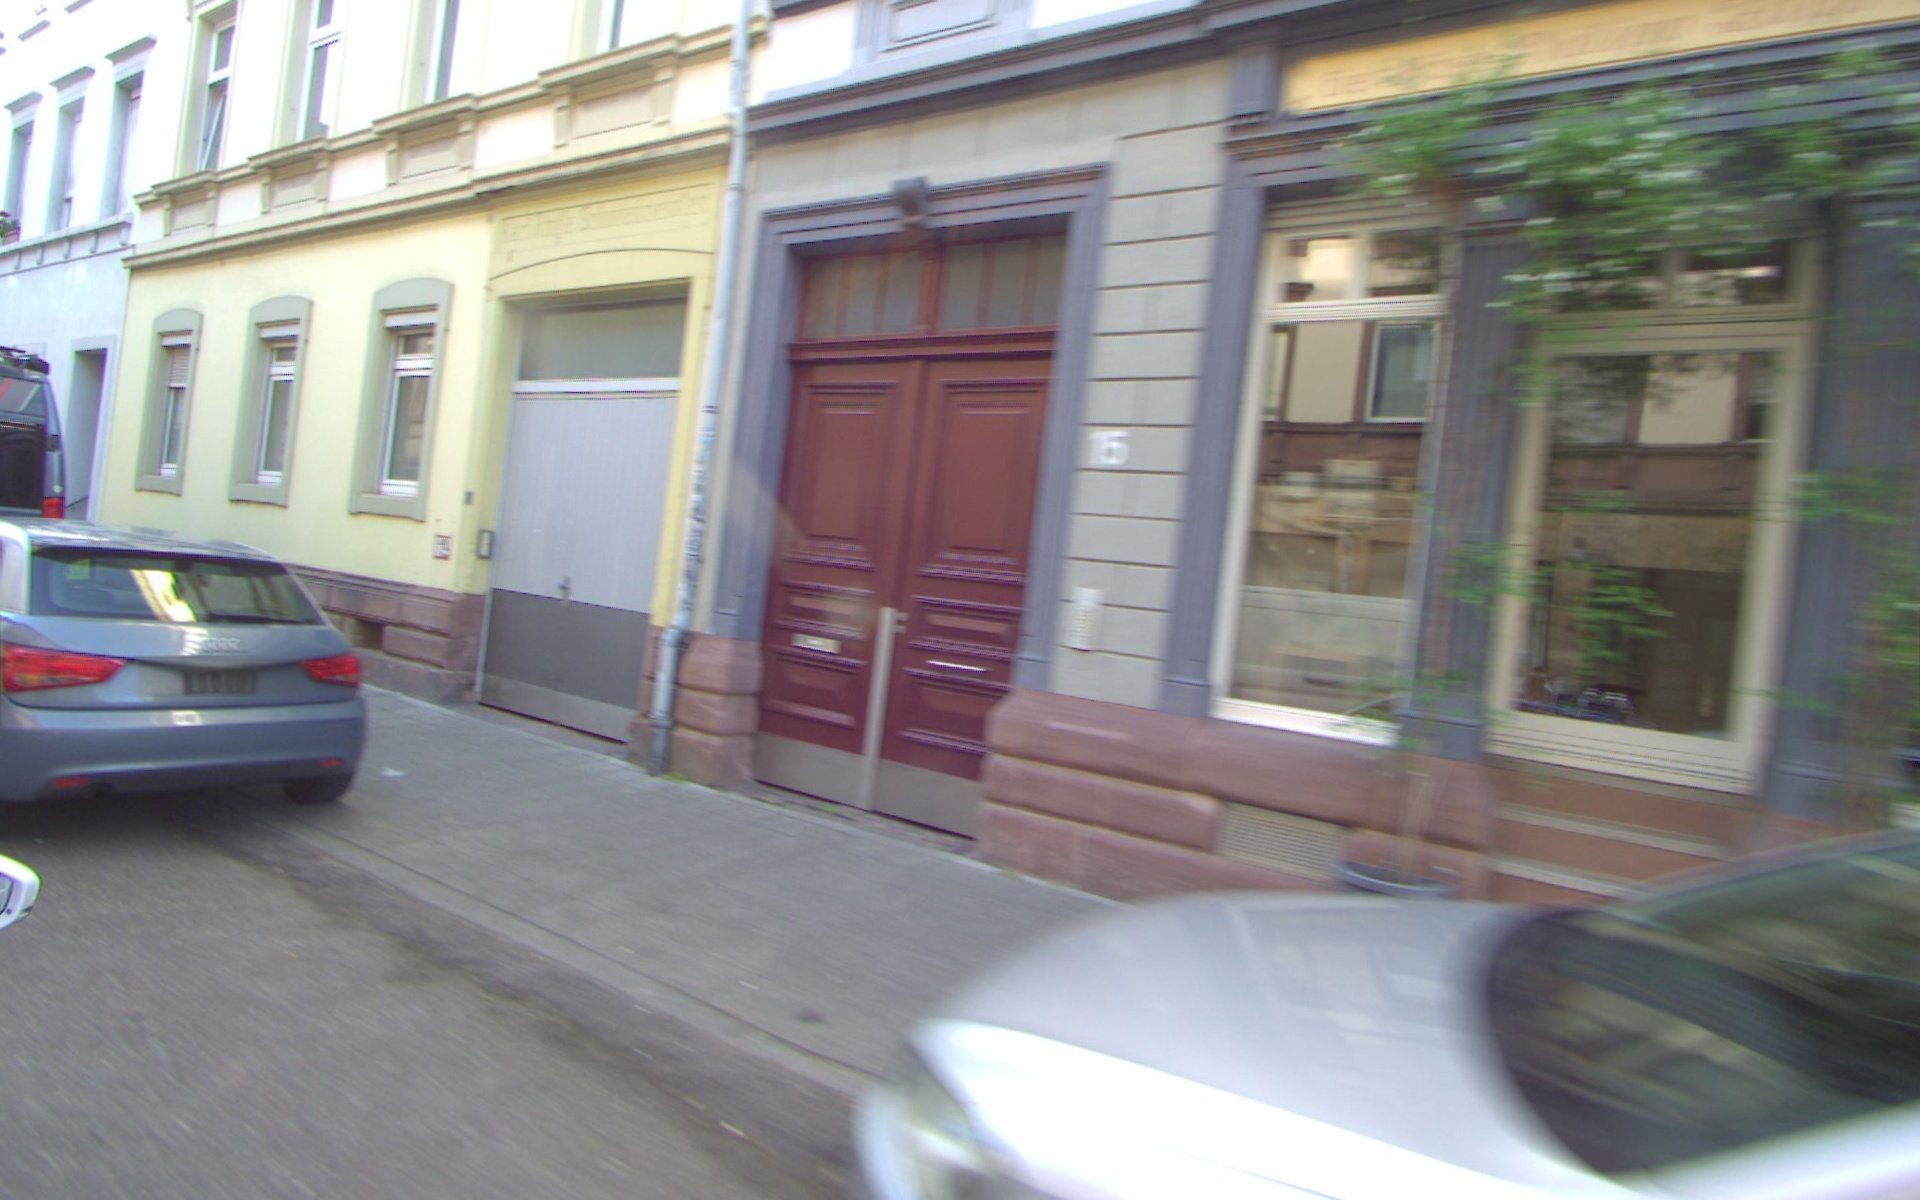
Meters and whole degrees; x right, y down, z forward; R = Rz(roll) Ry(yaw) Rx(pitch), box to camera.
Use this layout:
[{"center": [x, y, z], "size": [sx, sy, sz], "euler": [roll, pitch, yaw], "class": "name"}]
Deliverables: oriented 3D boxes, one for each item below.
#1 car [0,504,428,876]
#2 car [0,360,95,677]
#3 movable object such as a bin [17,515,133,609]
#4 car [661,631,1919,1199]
[{"center": [-5.131, 0.250, 5.786], "size": [4.103, 1.461, 1.750], "euler": [7, -1, 32], "class": "car"}, {"center": [-10.371, -0.962, 8.959], "size": [6.204, 2.456, 2.176], "euler": [7, 1, 32], "class": "car"}, {"center": [-10.875, -0.456, 12.374], "size": [0.696, 1.057, 0.863], "euler": [7, 3, 30], "class": "movable object such as a bin"}, {"center": [1.870, 1.033, 1.260], "size": [4.471, 1.474, 1.786], "euler": [7, 2, 32], "class": "car"}]
